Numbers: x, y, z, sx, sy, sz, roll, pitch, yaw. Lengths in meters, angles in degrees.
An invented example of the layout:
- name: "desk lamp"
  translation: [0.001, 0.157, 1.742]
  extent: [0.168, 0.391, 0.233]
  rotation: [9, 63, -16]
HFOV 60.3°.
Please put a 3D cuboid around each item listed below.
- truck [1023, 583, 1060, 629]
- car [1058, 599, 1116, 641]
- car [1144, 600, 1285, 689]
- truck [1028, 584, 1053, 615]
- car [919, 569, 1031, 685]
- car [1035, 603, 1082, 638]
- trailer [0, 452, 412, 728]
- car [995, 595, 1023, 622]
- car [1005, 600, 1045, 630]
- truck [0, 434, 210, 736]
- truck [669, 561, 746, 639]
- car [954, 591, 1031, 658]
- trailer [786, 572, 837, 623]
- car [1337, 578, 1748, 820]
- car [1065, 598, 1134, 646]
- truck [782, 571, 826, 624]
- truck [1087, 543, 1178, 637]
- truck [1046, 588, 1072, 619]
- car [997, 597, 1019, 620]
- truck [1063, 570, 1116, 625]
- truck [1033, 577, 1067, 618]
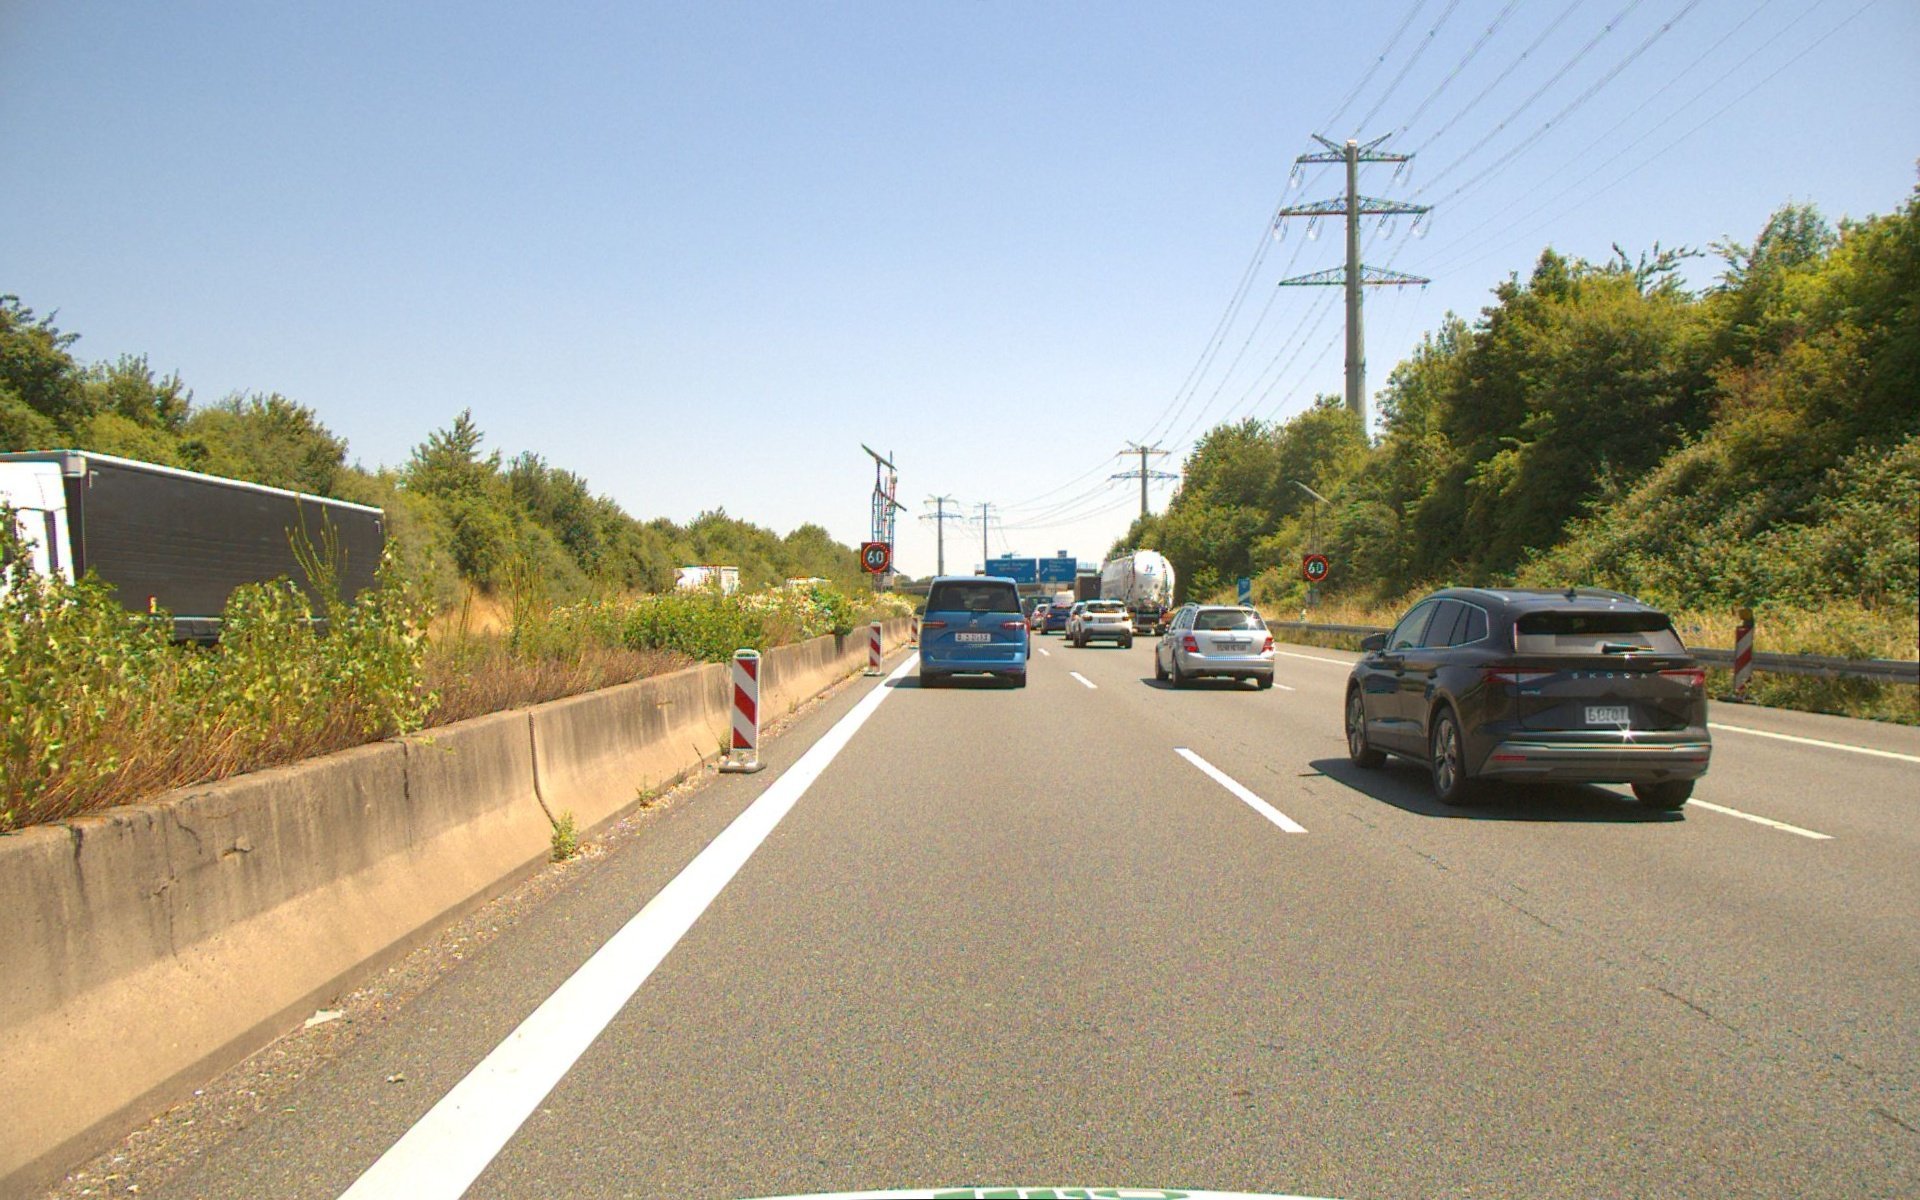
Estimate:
- name: "truck"
  translation: [5.048, 0.357, 103.389]
  extent: [1.953, 2.771, 5.679]
  rotation: [1, 0, -1]
- name: "car"
  translation: [5.086, 0.798, 66.757]
  extent: [1.870, 1.597, 4.382]
  rotation: [1, 0, -1]
- name: "car"
  translation: [4.534, 0.757, 30.074]
  extent: [1.784, 1.462, 4.382]
  rotation: [1, 0, -1]
- name: "truck"
  translation: [11.836, -0.095, 243.152]
  extent: [2.878, 4.366, 12.550]
  rotation: [1, 0, 0]
- name: "car"
  translation: [0.197, 0.457, 29.862]
  extent: [1.833, 1.912, 4.382]
  rotation: [1, 0, -2]
- name: "car"
  translation: [4.621, 0.945, 78.188]
  extent: [1.870, 1.542, 4.382]
  rotation: [1, 0, -1]
- name: "trailer"
  translation: [-14.776, -0.125, 33.103]
  extent: [2.697, 4.239, 14.196]
  rotation: [-3, 0, 0]
- name: "car"
  translation: [3.736, 0.651, 126.945]
  extent: [1.953, 2.049, 3.999]
  rotation: [1, 0, -1]
- name: "car"
  translation: [3.557, 0.814, 91.017]
  extent: [1.870, 1.542, 4.382]
  rotation: [1, 0, -1]
- name: "truck"
  translation: [-14.776, -0.143, 26.145]
  extent: [2.695, 4.239, 6.411]
  rotation: [-3, 0, 0]
- name: "truck"
  translation: [-13.928, -0.006, 91.904]
  extent: [2.706, 3.956, 9.029]
  rotation: [-3, 0, 0]
- name: "car"
  translation: [0.810, 0.623, 43.336]
  extent: [1.869, 1.659, 4.383]
  rotation: [0, 0, -1]
- name: "trailer"
  translation: [-13.137, -0.219, 147.845]
  extent: [2.955, 4.239, 14.020]
  rotation: [-3, 0, 0]
- name: "car"
  translation: [4.515, 0.675, 13.593]
  extent: [1.791, 1.642, 4.430]
  rotation: [1, 0, 0]
- name: "car"
  translation: [4.648, 0.716, 55.394]
  extent: [1.870, 1.534, 3.920]
  rotation: [1, 0, -1]
- name: "truck"
  translation: [-13.181, -0.236, 140.153]
  extent: [2.955, 4.239, 5.805]
  rotation: [-3, 0, 0]
- name: "truck"
  translation: [8.360, -0.419, 82.272]
  extent: [2.591, 4.143, 16.438]
  rotation: [1, 0, 0]
- name: "truck"
  translation: [9.140, 0.325, 152.371]
  extent: [1.953, 2.771, 5.679]
  rotation: [1, 0, -1]
- name: "car"
  translation: [4.383, 0.761, 152.373]
  extent: [1.952, 2.049, 4.000]
  rotation: [1, 0, 1]
- name: "truck"
  translation: [8.970, -0.156, 116.230]
  extent: [2.591, 3.600, 12.550]
  rotation: [1, 0, 0]
- name: "truck"
  translation: [9.922, -0.218, 183.707]
  extent: [2.878, 4.366, 12.550]
  rotation: [1, 0, 0]
